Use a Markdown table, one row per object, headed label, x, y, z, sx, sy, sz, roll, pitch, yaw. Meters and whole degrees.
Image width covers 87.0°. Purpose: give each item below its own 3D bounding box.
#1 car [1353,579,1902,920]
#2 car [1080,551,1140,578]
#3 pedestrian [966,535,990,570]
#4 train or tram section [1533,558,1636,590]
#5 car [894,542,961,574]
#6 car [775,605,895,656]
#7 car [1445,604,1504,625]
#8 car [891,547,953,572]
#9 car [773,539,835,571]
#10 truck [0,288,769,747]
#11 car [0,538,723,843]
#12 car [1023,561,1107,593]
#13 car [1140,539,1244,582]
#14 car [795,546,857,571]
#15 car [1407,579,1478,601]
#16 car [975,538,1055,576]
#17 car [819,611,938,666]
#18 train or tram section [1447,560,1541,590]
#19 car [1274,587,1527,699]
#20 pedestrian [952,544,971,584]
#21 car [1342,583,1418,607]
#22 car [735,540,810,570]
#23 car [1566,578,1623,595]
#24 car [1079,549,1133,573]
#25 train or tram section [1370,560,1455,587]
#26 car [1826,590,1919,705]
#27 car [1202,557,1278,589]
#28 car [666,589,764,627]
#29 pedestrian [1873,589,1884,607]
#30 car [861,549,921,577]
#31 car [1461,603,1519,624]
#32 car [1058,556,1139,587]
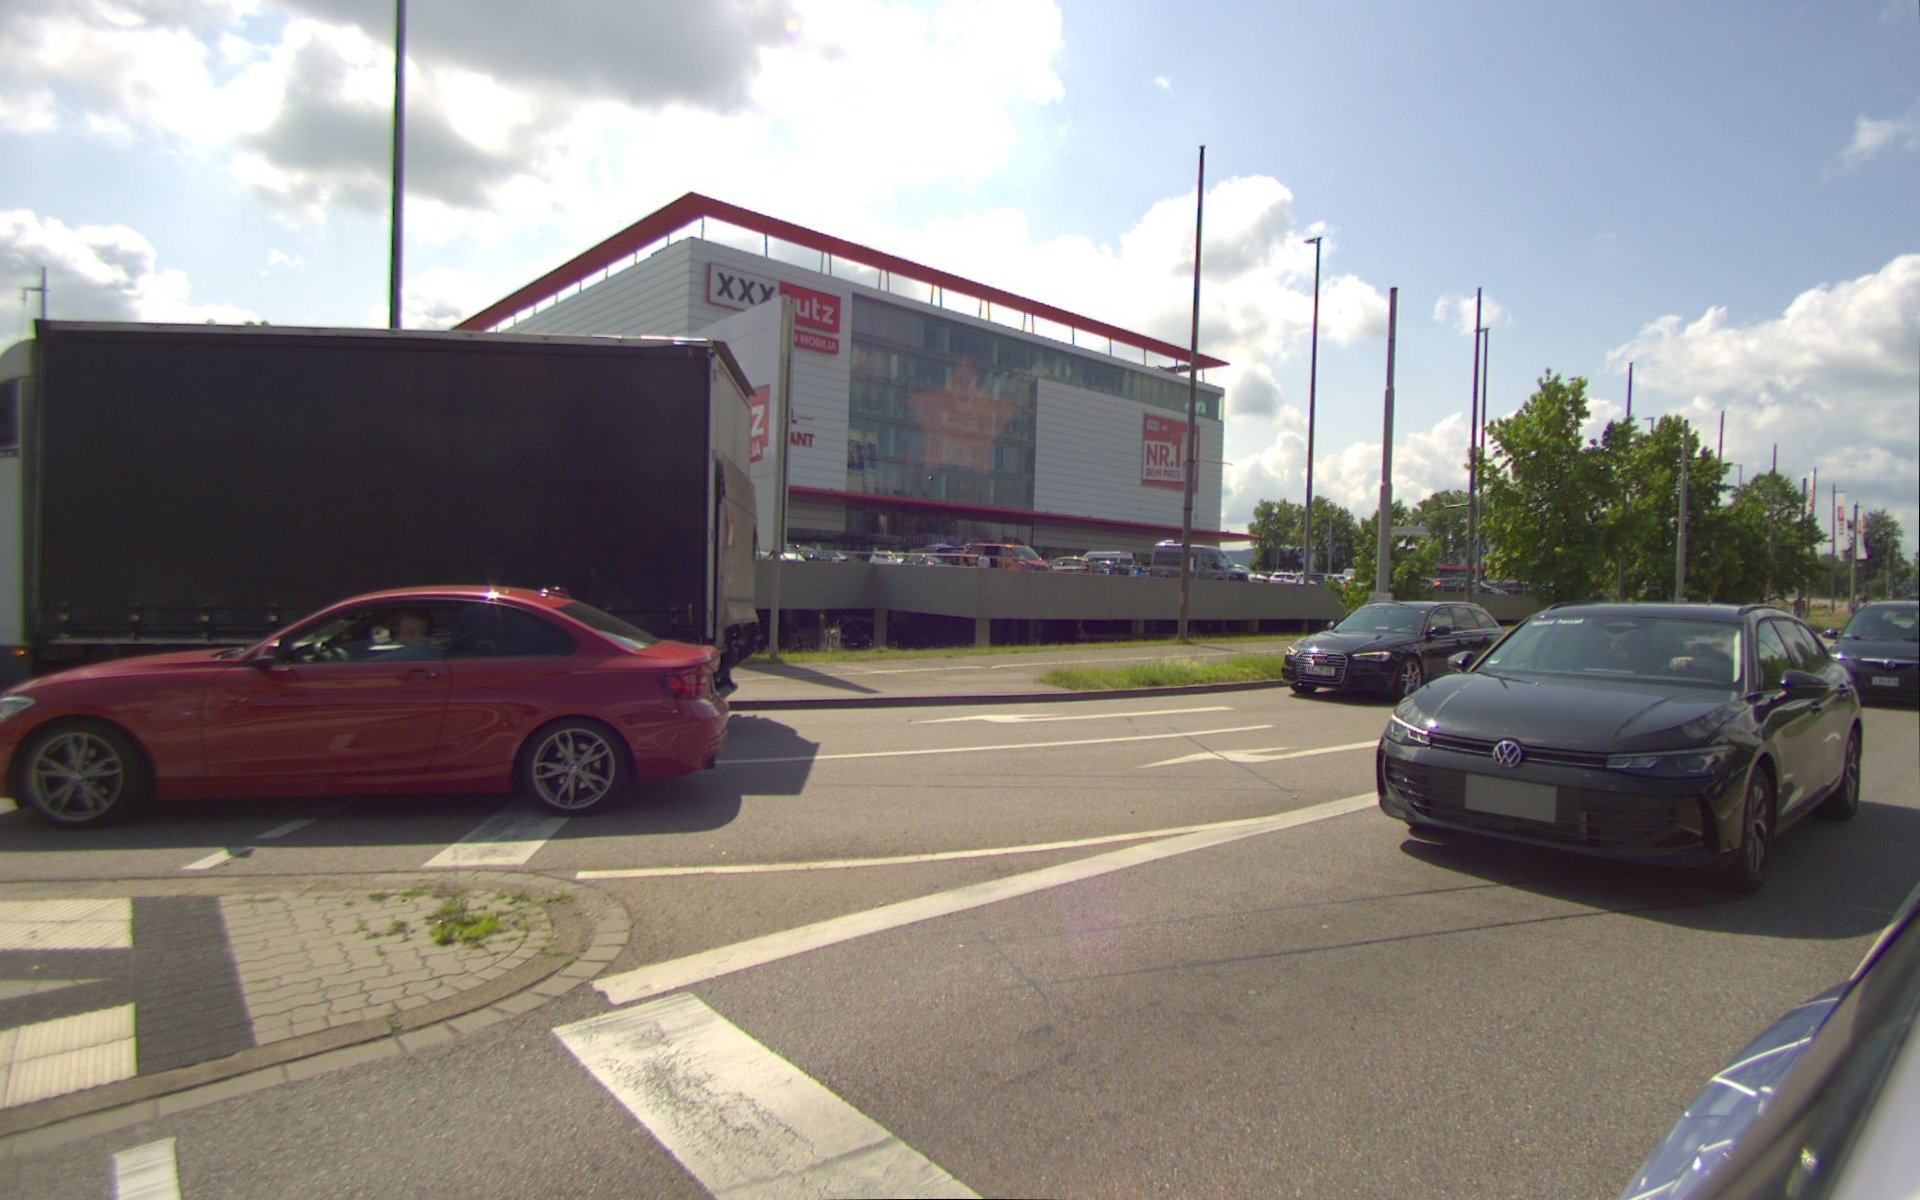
| label | x | y | z | sx | sy | sz | roll | pitch | yaw |
| --- | --- | --- | --- | --- | --- | --- | --- | --- | --- |
| car | 4.775 | 0.629 | 6.829 | 5.113 | 1.496 | 1.811 | 0 | 1 | -41 |
| car | 10.658 | -2.507 | 72.221 | 1.883 | 1.772 | 3.993 | -1 | 1 | -41 |
| pedestrian | 0.917 | -2.397 | 51.242 | 1.014 | 1.764 | 0.698 | 0 | 0 | 36 |
| train or tram section | 95.927 | -3.959 | 155.695 | 3.669 | 4.731 | 13.079 | -1 | 1 | -42 |
| car | -1.969 | -2.460 | 60.405 | 1.883 | 1.772 | 3.993 | -1 | 1 | -41 |
| car | -4.772 | 1.133 | 39.013 | 4.292 | 1.772 | 1.995 | 0 | 1 | -44 |
| car | 45.554 | 1.257 | 89.641 | 1.534 | 1.786 | 4.412 | -1 | 1 | -43 |
| car | -2.582 | -2.679 | 67.743 | 1.920 | 1.625 | 4.418 | 0 | 1 | -39 |
| car | -9.461 | -2.685 | 61.152 | 1.883 | 1.772 | 3.993 | -1 | 1 | -41 |
| truck | -6.706 | -0.771 | 10.726 | 8.890 | 4.078 | 3.225 | 0 | 0 | -4 |
| car | -3.745 | 0.459 | 6.890 | 4.130 | 1.676 | 1.869 | -1 | 1 | -13 |
| car | 5.661 | -1.241 | 55.095 | 1.921 | 1.625 | 4.416 | 0 | 1 | -41 |
| car | 13.024 | -2.175 | 57.229 | 1.720 | 2.312 | 5.785 | -1 | 1 | -43 |
| car | -8.388 | -2.553 | 63.002 | 1.534 | 1.489 | 4.413 | 0 | 1 | -43 |
| car | 35.913 | -0.757 | 75.407 | 1.921 | 1.625 | 4.416 | 0 | 1 | -41 |
| car | 2.766 | -2.145 | 51.539 | 1.881 | 1.772 | 4.188 | -1 | 1 | -36 |
| car | -2.899 | 1.326 | 36.429 | 3.934 | 1.772 | 1.995 | 0 | 1 | -44 |
| train or tram section | 87.115 | -4.152 | 165.395 | 3.669 | 4.424 | 13.084 | -1 | 3 | -42 |
| car | 7.012 | 0.565 | 15.876 | 4.596 | 1.496 | 1.777 | 0 | 1 | -40 |
| pedestrian | 0.067 | -1.837 | 51.598 | 0.895 | 2.039 | 0.706 | 0 | 0 | 5 |
| car | 28.822 | -0.367 | 69.520 | 1.921 | 1.625 | 4.416 | 0 | 1 | -41 |
| car | -10.205 | -2.417 | 54.773 | 1.922 | 1.489 | 4.413 | 0 | 1 | -43 |
| car | 62.693 | -1.376 | 100.084 | 1.921 | 1.625 | 4.416 | 0 | 1 | -41 |
| car | 11.425 | -3.036 | 79.456 | 1.883 | 1.772 | 3.993 | -1 | 1 | -41 |
| train or tram section | 78.168 | -4.510 | 175.201 | 3.669 | 4.618 | 13.079 | -1 | 1 | -42 |
| car | 14.543 | 0.660 | 15.325 | 4.195 | 1.549 | 1.605 | 0 | 1 | -42 |
| car | 16.193 | -1.548 | 58.679 | 1.718 | 1.816 | 3.995 | -1 | 1 | -39 |
| car | -11.987 | 0.366 | 49.715 | 4.292 | 1.772 | 1.995 | 0 | 1 | -44 |
| pedestrian | 94.588 | -0.207 | 104.244 | 0.518 | 1.836 | 0.675 | 0 | 0 | 11 |
| car | -4.580 | -2.404 | 66.684 | 1.883 | 1.772 | 3.993 | -1 | 1 | -41 |
| car | 48.323 | 1.240 | 92.311 | 1.534 | 1.786 | 4.412 | -1 | 1 | -43 |
| car | 7.752 | -1.587 | 57.008 | 1.920 | 1.625 | 4.418 | 0 | 1 | -39 |
